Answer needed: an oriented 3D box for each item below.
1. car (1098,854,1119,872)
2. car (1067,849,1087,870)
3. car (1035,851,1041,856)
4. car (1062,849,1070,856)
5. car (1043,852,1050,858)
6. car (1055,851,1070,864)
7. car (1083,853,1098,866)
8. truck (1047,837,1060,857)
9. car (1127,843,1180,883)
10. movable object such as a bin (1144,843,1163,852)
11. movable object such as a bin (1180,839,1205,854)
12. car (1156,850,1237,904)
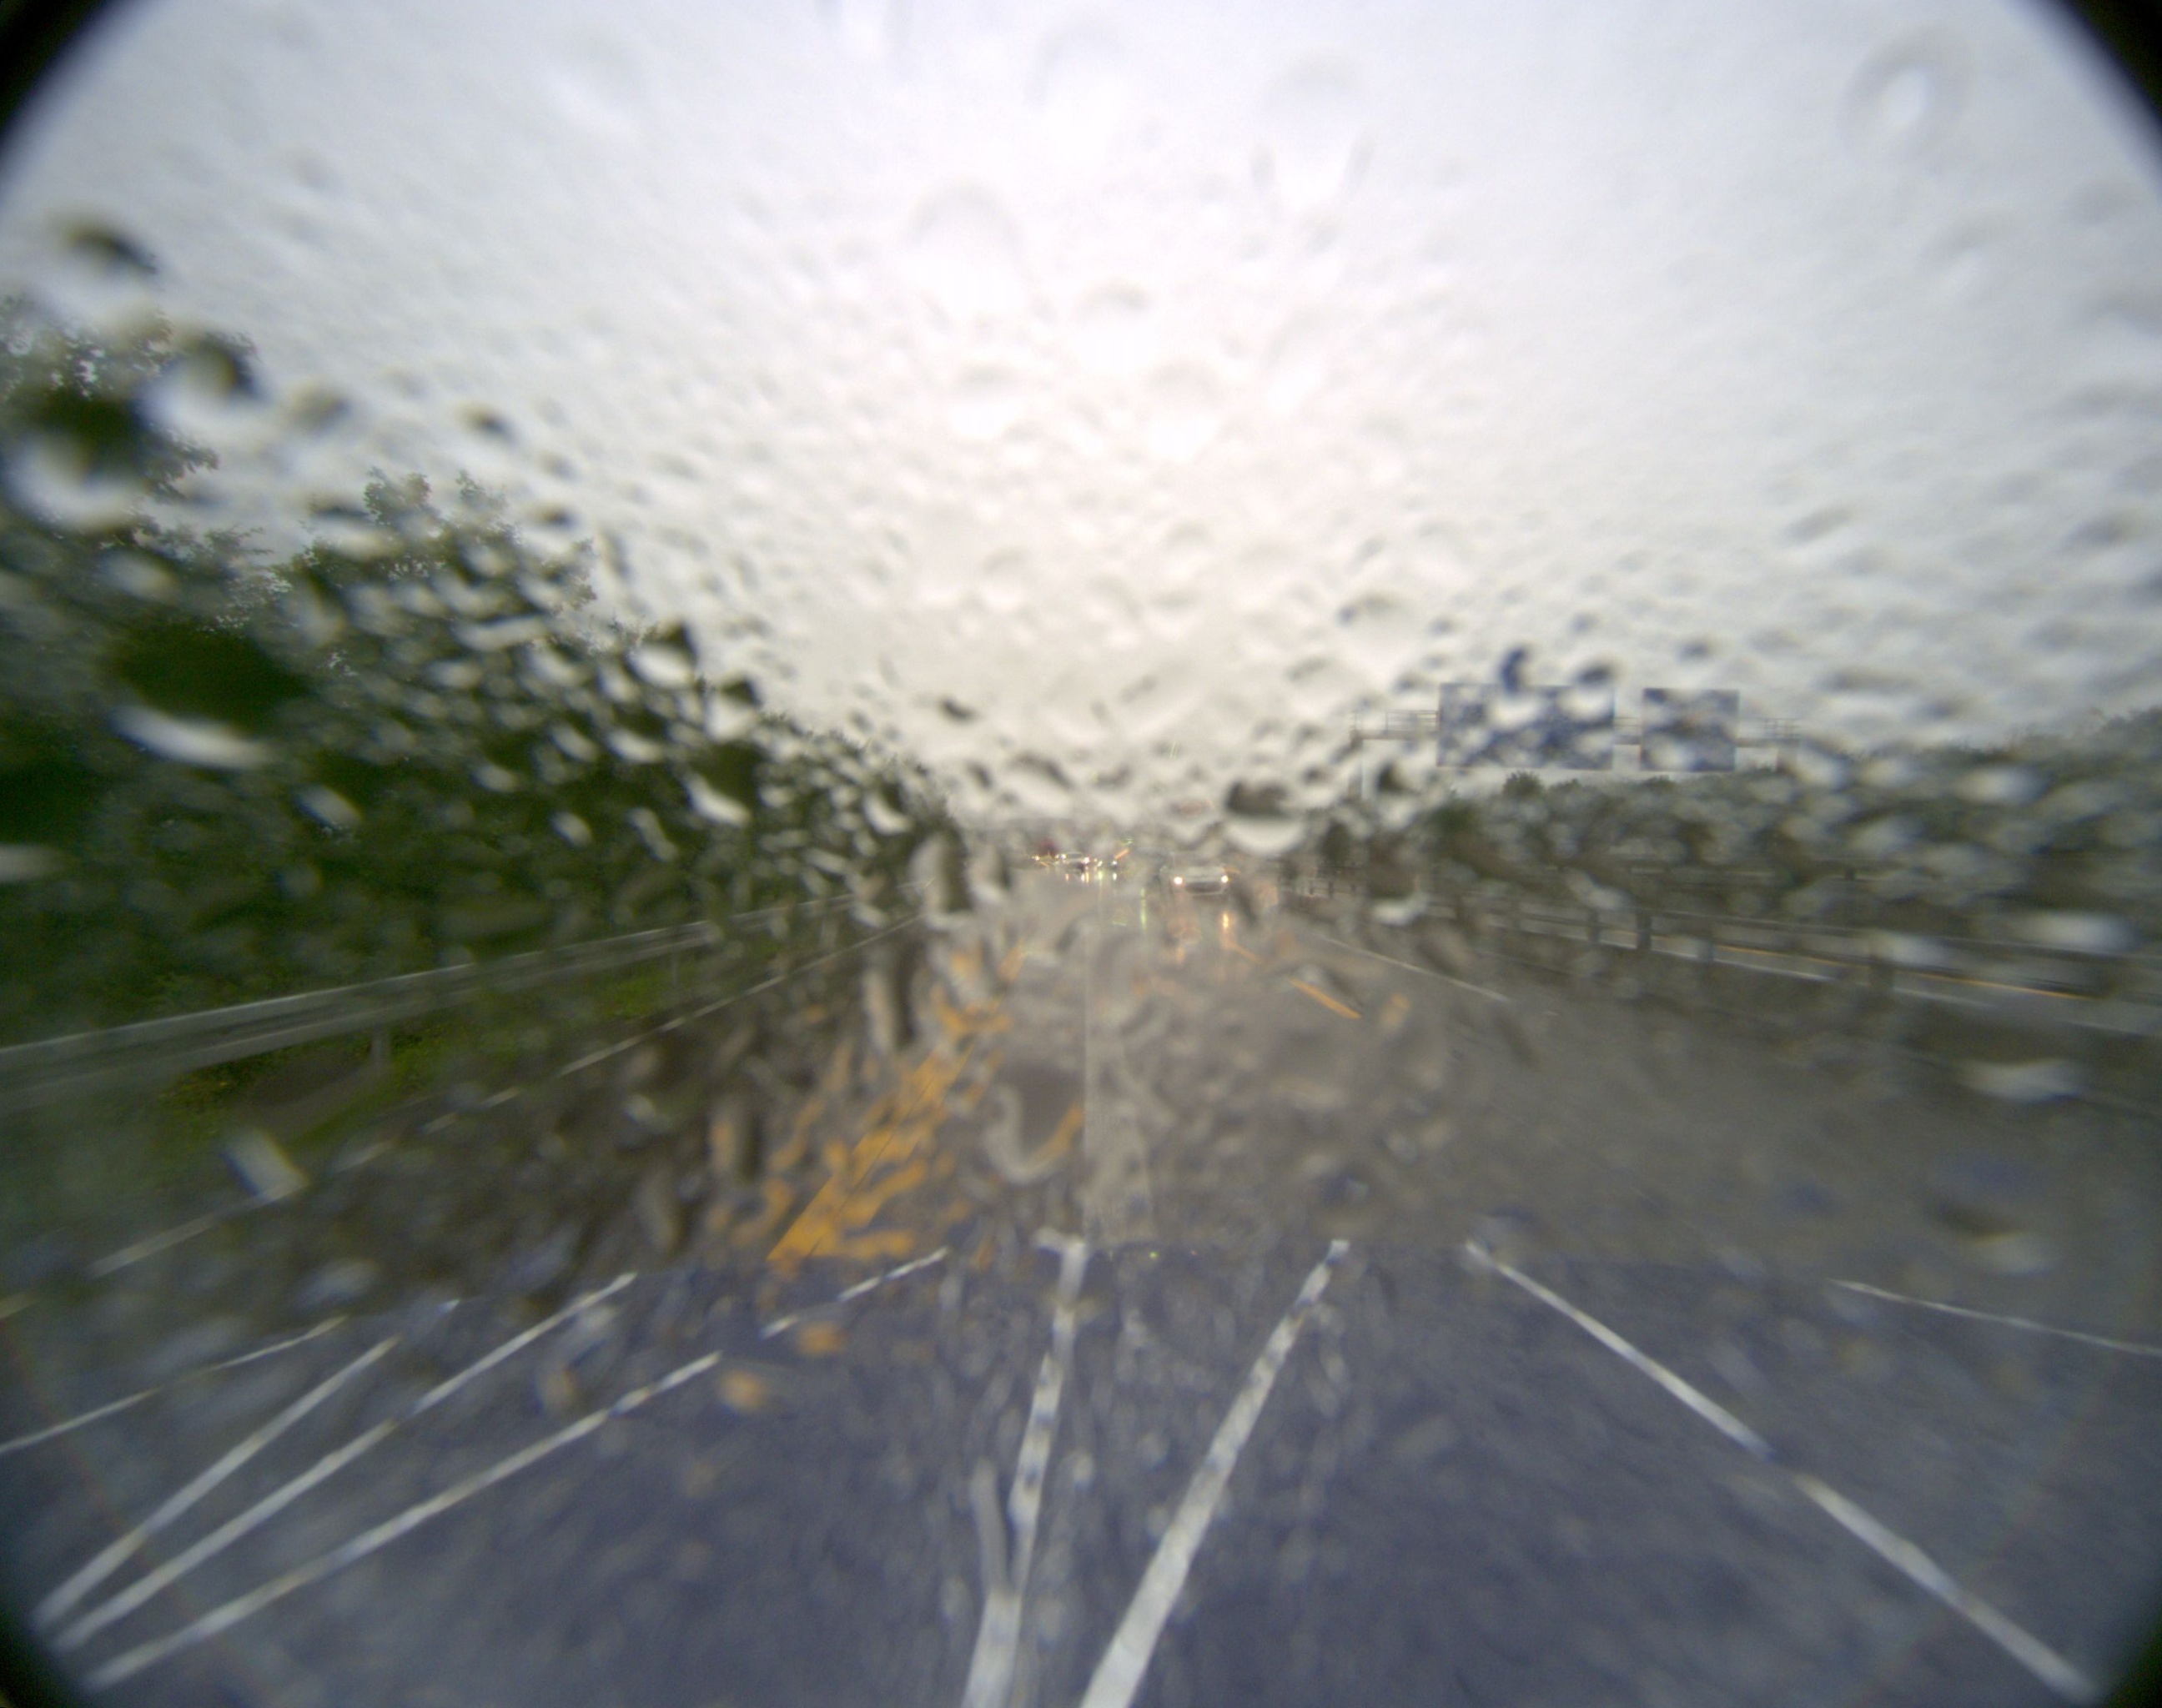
[{"bbox_3d":[2.823,0.879,78.388,1.695,1.740,3.998,-3,1,-3],"label":"car"},{"bbox_3d":[-0.429,0.508,76.818,1.881,2.002,3.999,-3,1,-1],"label":"car"},{"bbox_3d":[-13.259,-0.242,235.970,1.752,1.579,3.998,-3,1,-3],"label":"car"},{"bbox_3d":[-3.792,-0.358,187.315,1.752,1.579,3.998,-3,1,-3],"label":"car"},{"bbox_3d":[-9.446,0.272,208.564,1.752,1.579,3.998,-3,1,-3],"label":"car"},{"bbox_3d":[-2.463,0.464,100.548,1.882,1.656,3.998,-2,1,-3],"label":"car"},{"bbox_3d":[1.305,0.736,106.626,1.845,1.586,3.998,-3,1,-3],"label":"car"},{"bbox_3d":[-5.989,-1.441,162.996,2.484,4.061,8.701,-3,1,-3],"label":"truck"},{"bbox_3d":[3.939,0.426,42.326,2.211,2.002,5.562,-3,1,-1],"label":"car"},{"bbox_3d":[18.324,-1.603,192.331,3.449,2.281,5.096,-3,1,-9],"label":"movable object such as a bin"},{"bbox_3d":[22.057,-1.499,151.098,3.775,2.782,6.328,-3,1,-2],"label":"movable object such as a bin"},{"bbox_3d":[3.683,0.722,24.999,1.978,1.586,4.310,-2,-1,0],"label":"car"}]
